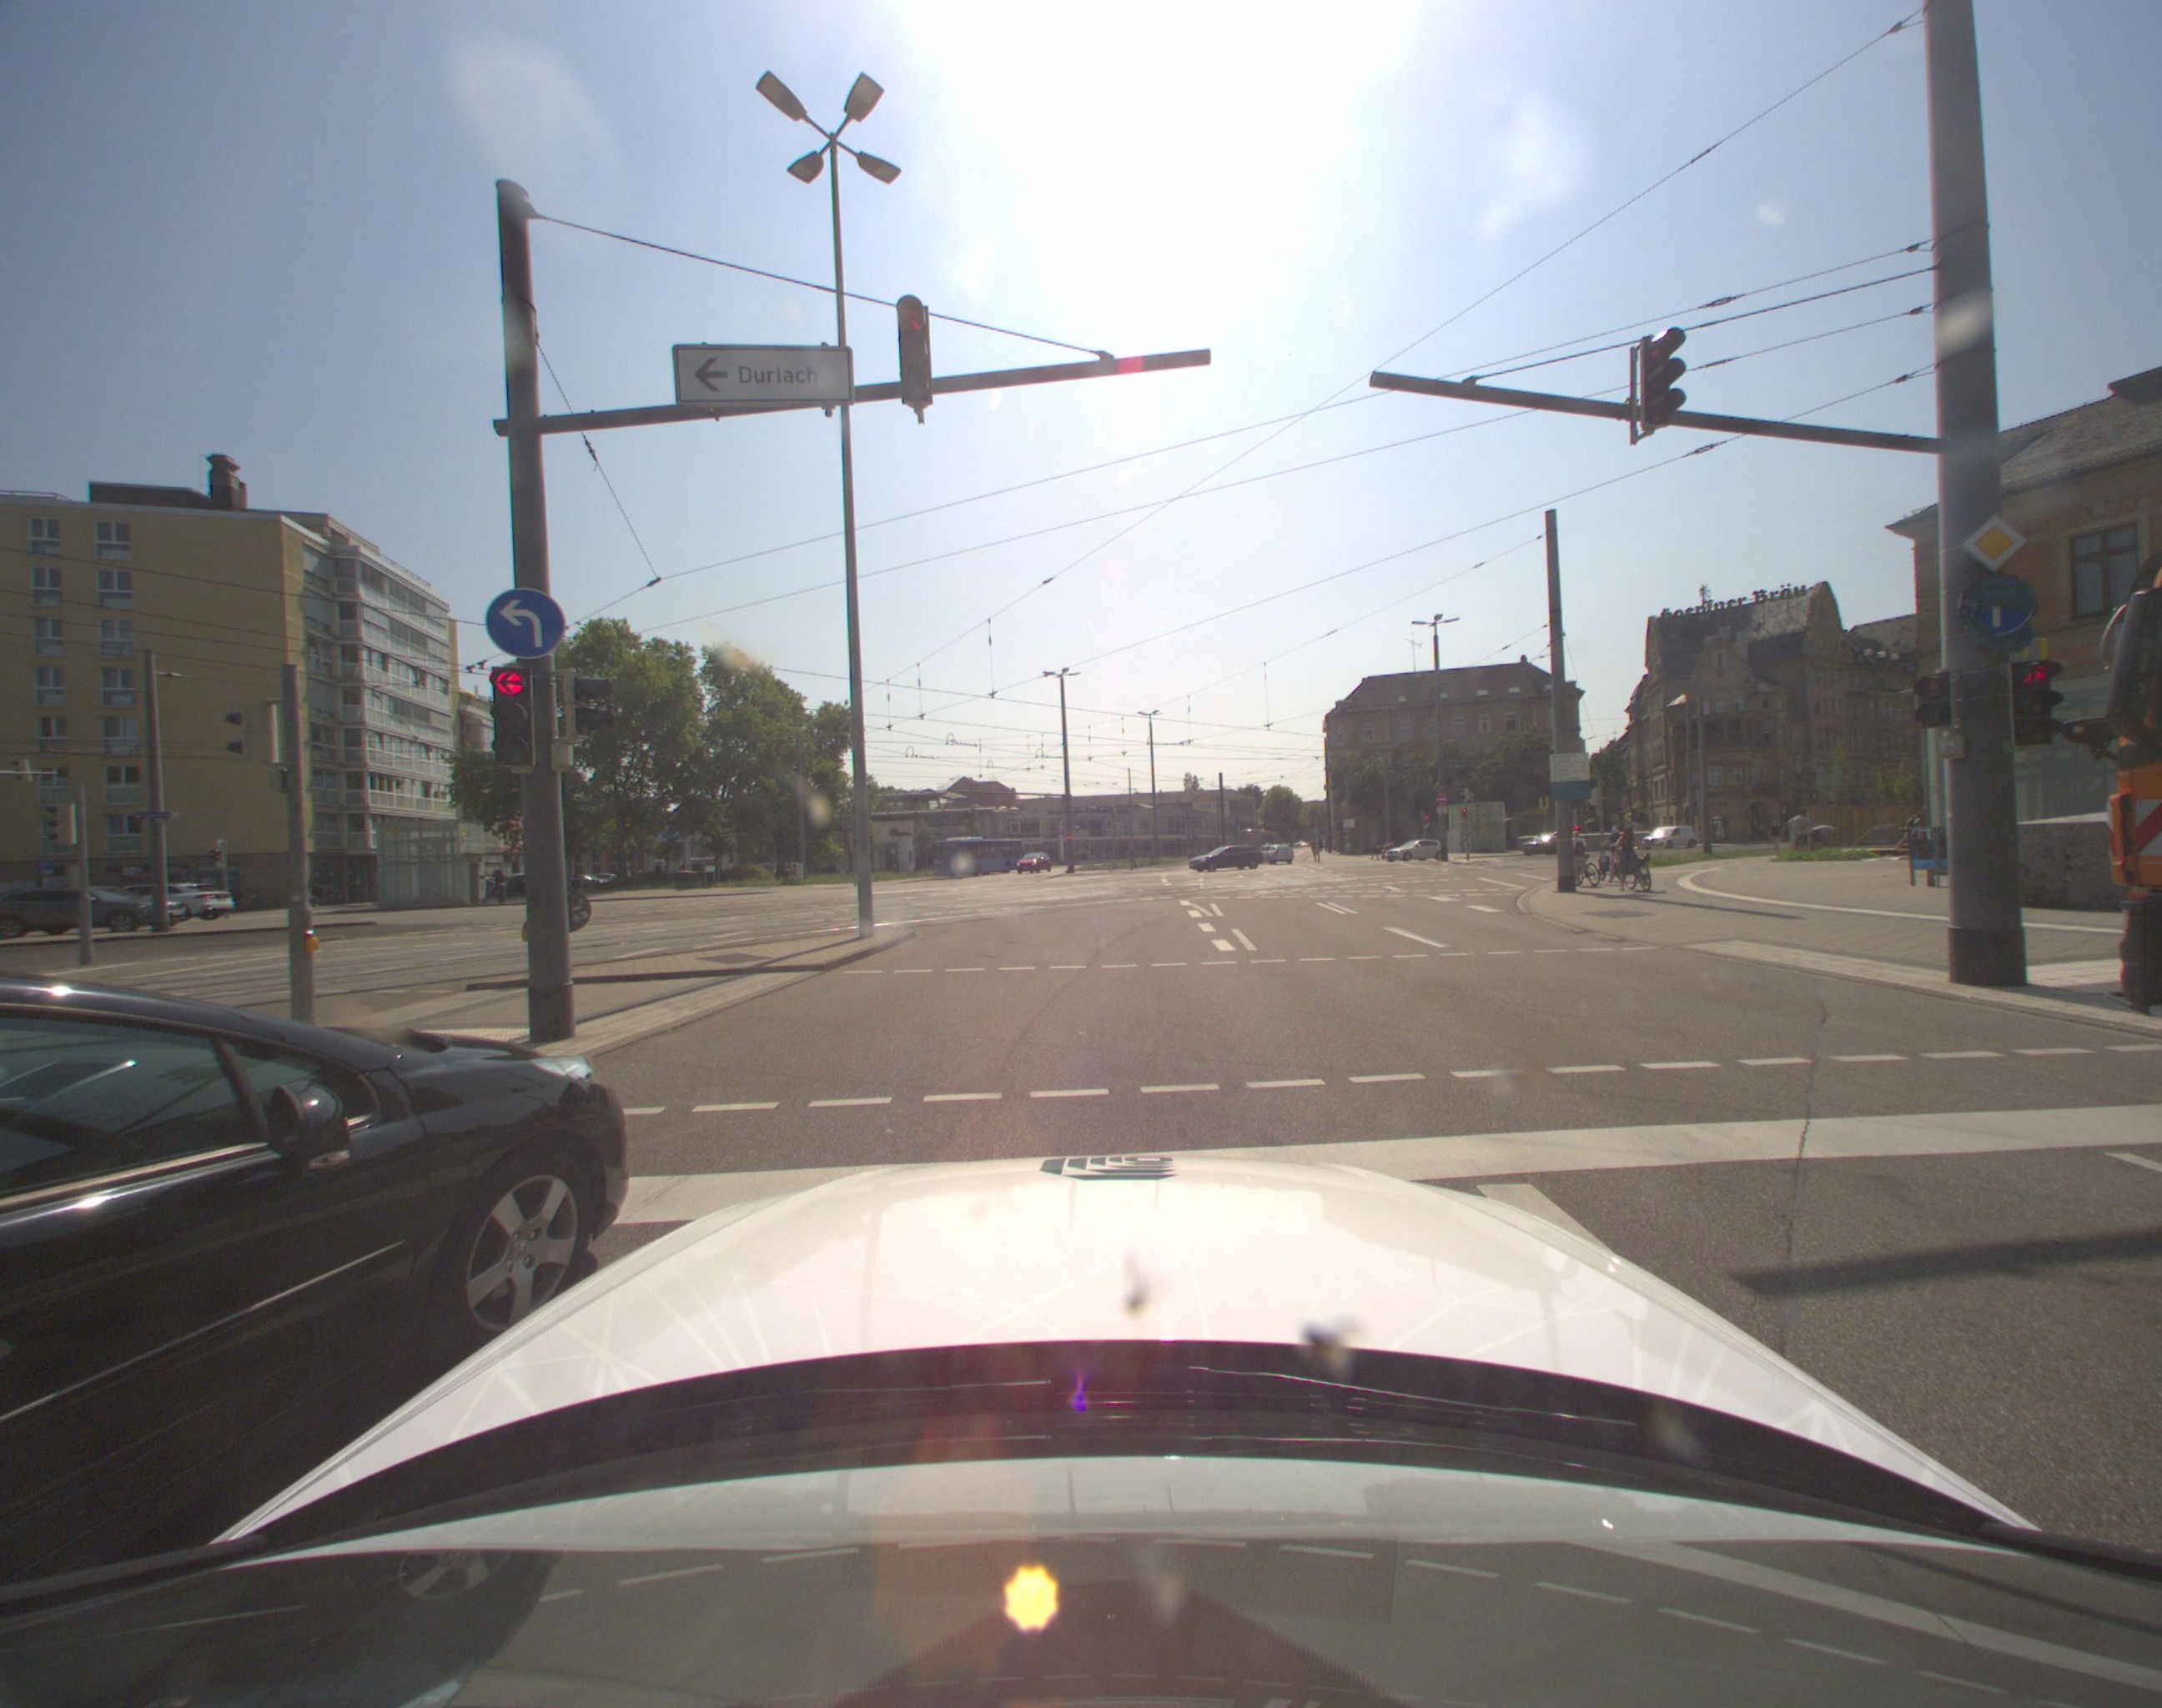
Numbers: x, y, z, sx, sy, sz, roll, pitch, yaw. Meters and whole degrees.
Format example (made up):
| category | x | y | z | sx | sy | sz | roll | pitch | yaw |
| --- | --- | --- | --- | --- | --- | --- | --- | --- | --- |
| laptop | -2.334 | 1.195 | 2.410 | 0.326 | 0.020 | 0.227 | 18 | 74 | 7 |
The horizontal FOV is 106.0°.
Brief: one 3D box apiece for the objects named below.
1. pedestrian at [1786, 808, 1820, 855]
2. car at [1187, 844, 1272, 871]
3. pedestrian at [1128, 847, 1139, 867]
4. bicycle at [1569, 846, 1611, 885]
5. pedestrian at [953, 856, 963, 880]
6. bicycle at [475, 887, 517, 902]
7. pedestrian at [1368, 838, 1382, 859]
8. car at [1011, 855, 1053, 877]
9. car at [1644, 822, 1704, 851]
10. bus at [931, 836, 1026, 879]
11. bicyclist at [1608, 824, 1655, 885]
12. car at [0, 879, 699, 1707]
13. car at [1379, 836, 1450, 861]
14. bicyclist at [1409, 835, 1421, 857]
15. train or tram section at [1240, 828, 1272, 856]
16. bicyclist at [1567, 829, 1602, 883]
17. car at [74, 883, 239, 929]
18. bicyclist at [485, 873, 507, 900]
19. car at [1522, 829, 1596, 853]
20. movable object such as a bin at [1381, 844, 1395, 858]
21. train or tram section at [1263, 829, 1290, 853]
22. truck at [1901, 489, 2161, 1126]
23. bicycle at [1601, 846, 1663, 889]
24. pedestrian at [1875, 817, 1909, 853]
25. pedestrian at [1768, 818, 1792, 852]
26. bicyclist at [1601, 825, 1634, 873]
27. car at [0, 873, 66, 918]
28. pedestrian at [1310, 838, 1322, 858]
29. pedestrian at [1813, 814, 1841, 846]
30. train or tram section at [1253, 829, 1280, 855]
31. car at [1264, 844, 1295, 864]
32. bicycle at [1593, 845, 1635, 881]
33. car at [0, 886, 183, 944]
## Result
| category | x | y | z | sx | sy | sz | roll | pitch | yaw |
| --- | --- | --- | --- | --- | --- | --- | --- | --- | --- |
| pedestrian | 27.092 | -0.848 | 30.557 | 0.549 | 1.724 | 0.812 | -2 | 0 | -39 |
| car | 8.951 | 0.225 | 49.196 | 4.766 | 1.415 | 1.765 | -2 | 0 | -18 |
| pedestrian | 3.863 | 0.222 | 59.663 | 0.678 | 1.443 | 0.364 | -2 | 0 | -15 |
| bicycle | 14.578 | 0.313 | 23.358 | 0.532 | 1.055 | 1.660 | -2 | 0 | 14 |
| pedestrian | -8.580 | 0.980 | 56.934 | 0.554 | 1.684 | 0.451 | -2 | 0 | -17 |
| bicycle | -34.149 | 2.361 | 47.560 | 1.860 | 0.802 | 0.604 | -2 | 0 | -17 |
| pedestrian | 22.483 | -0.407 | 62.258 | 0.849 | 1.545 | 0.527 | -2 | 0 | -6 |
| car | -3.823 | 0.938 | 63.607 | 1.735 | 1.552 | 4.020 | -3 | 0 | 20 |
| car | 46.554 | -1.378 | 63.889 | 4.638 | 2.013 | 1.981 | -2 | 0 | -29 |
| bus | -8.110 | 0.204 | 66.992 | 2.541 | 3.082 | 12.082 | -3 | 0 | 19 |
| bicyclist | 14.154 | 0.013 | 20.961 | 0.730 | 1.517 | 0.665 | -2 | 0 | 6 |
| car | -2.668 | 0.815 | 1.580 | 1.757 | 1.388 | 3.787 | -1 | 0 | 6 |
| car | 22.037 | -0.359 | 53.792 | 4.202 | 1.415 | 1.764 | -2 | 0 | -20 |
| bicyclist | 24.466 | -0.577 | 59.663 | 0.614 | 1.528 | 0.517 | -2 | 0 | -22 |
| train or tram section | 23.925 | -1.632 | 110.905 | 2.566 | 3.516 | 10.955 | -2 | 0 | 21 |
| bicyclist | 14.600 | 0.056 | 23.643 | 0.623 | 1.517 | 0.715 | -2 | 0 | 14 |
| car | -39.038 | 2.154 | 34.516 | 4.329 | 1.618 | 1.746 | -2 | 0 | -15 |
| bicyclist | -34.175 | 1.888 | 47.564 | 0.873 | 1.475 | 0.543 | -2 | 0 | -16 |
| car | 34.166 | -0.940 | 58.248 | 4.624 | 1.505 | 1.987 | -2 | 0 | -19 |
| movable object such as a bin | 23.353 | -0.216 | 61.922 | 0.812 | 1.077 | 0.510 | -2 | 0 | -9 |
| train or tram section | 31.602 | -2.105 | 131.228 | 2.566 | 3.516 | 13.040 | -2 | 0 | 21 |
| truck | 6.415 | -0.240 | 1.860 | 2.481 | 3.134 | 6.869 | -1 | 0 | 4 |
| bicycle | 14.168 | 0.332 | 20.989 | 0.489 | 1.055 | 1.826 | -2 | 0 | 7 |
| pedestrian | 32.037 | -0.749 | 32.185 | 0.768 | 1.399 | 0.687 | -2 | 0 | -23 |
| pedestrian | 33.171 | -0.922 | 38.655 | 0.794 | 1.575 | 0.729 | -2 | 0 | -44 |
| bicyclist | 16.180 | -0.146 | 24.577 | 0.526 | 1.393 | 0.897 | -2 | 0 | 14 |
| car | -48.532 | 1.906 | 37.615 | 3.949 | 1.925 | 1.815 | -3 | 0 | 42 |
| pedestrian | 19.050 | -0.453 | 66.099 | 0.699 | 1.603 | 0.572 | -2 | 0 | -6 |
| pedestrian | 29.243 | -0.949 | 31.932 | 0.658 | 1.214 | 0.531 | -2 | 0 | 30 |
| train or tram section | 27.537 | -1.745 | 120.553 | 2.566 | 3.516 | 9.708 | -2 | 0 | 20 |
| car | 15.103 | 0.004 | 62.101 | 1.760 | 1.415 | 4.197 | -2 | 0 | 7 |
| bicycle | 16.290 | 0.261 | 24.935 | 0.532 | 1.055 | 1.660 | -2 | 0 | 14 |
| car | -33.063 | 1.990 | 26.679 | 4.541 | 1.600 | 1.761 | -2 | 0 | -18 |
